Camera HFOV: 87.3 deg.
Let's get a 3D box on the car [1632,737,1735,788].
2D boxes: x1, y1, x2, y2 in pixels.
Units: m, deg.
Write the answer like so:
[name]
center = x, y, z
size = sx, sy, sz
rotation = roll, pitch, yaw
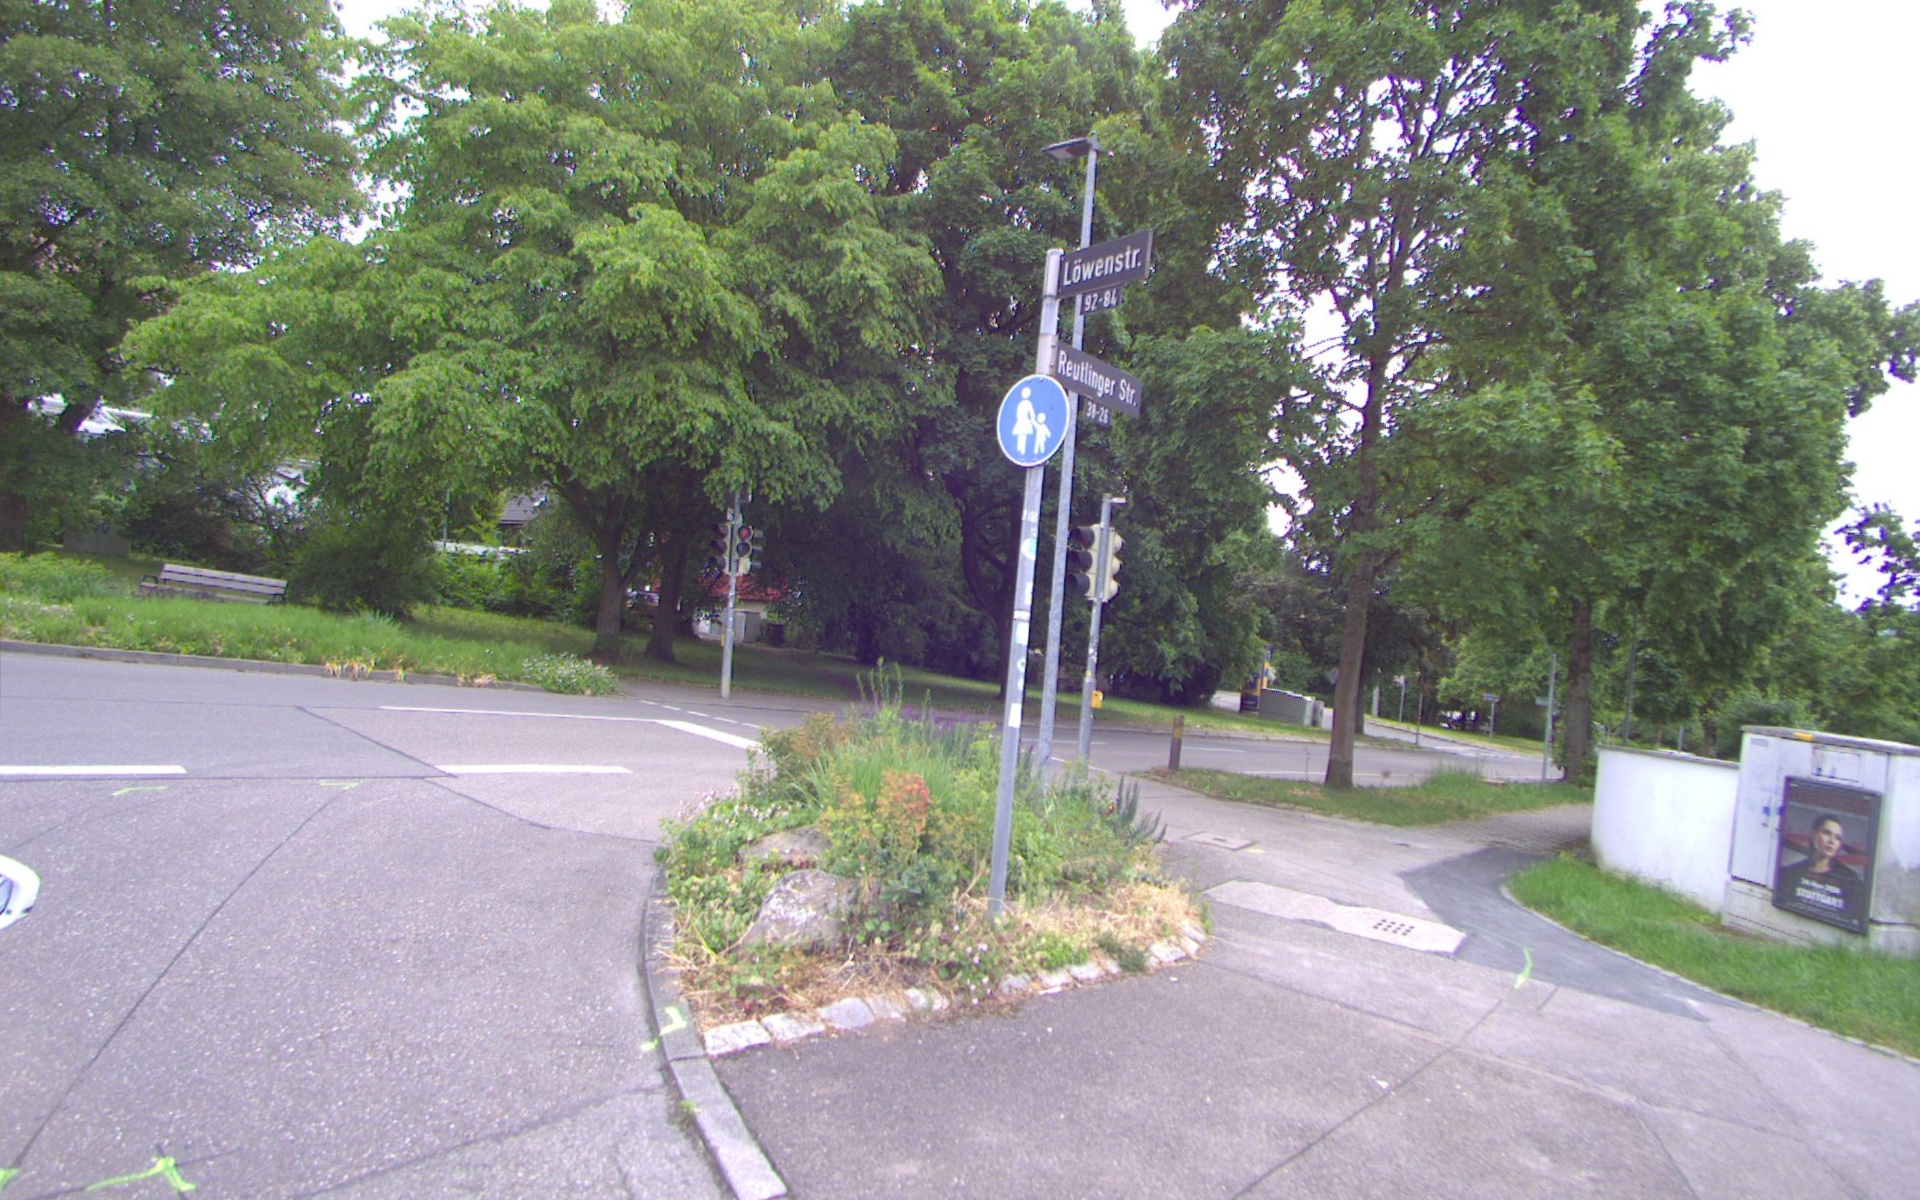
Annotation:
[car]
center = 28.644, 6.451, 39.805
size = 3.962, 1.571, 1.981
rotation = 7, 0, -34
